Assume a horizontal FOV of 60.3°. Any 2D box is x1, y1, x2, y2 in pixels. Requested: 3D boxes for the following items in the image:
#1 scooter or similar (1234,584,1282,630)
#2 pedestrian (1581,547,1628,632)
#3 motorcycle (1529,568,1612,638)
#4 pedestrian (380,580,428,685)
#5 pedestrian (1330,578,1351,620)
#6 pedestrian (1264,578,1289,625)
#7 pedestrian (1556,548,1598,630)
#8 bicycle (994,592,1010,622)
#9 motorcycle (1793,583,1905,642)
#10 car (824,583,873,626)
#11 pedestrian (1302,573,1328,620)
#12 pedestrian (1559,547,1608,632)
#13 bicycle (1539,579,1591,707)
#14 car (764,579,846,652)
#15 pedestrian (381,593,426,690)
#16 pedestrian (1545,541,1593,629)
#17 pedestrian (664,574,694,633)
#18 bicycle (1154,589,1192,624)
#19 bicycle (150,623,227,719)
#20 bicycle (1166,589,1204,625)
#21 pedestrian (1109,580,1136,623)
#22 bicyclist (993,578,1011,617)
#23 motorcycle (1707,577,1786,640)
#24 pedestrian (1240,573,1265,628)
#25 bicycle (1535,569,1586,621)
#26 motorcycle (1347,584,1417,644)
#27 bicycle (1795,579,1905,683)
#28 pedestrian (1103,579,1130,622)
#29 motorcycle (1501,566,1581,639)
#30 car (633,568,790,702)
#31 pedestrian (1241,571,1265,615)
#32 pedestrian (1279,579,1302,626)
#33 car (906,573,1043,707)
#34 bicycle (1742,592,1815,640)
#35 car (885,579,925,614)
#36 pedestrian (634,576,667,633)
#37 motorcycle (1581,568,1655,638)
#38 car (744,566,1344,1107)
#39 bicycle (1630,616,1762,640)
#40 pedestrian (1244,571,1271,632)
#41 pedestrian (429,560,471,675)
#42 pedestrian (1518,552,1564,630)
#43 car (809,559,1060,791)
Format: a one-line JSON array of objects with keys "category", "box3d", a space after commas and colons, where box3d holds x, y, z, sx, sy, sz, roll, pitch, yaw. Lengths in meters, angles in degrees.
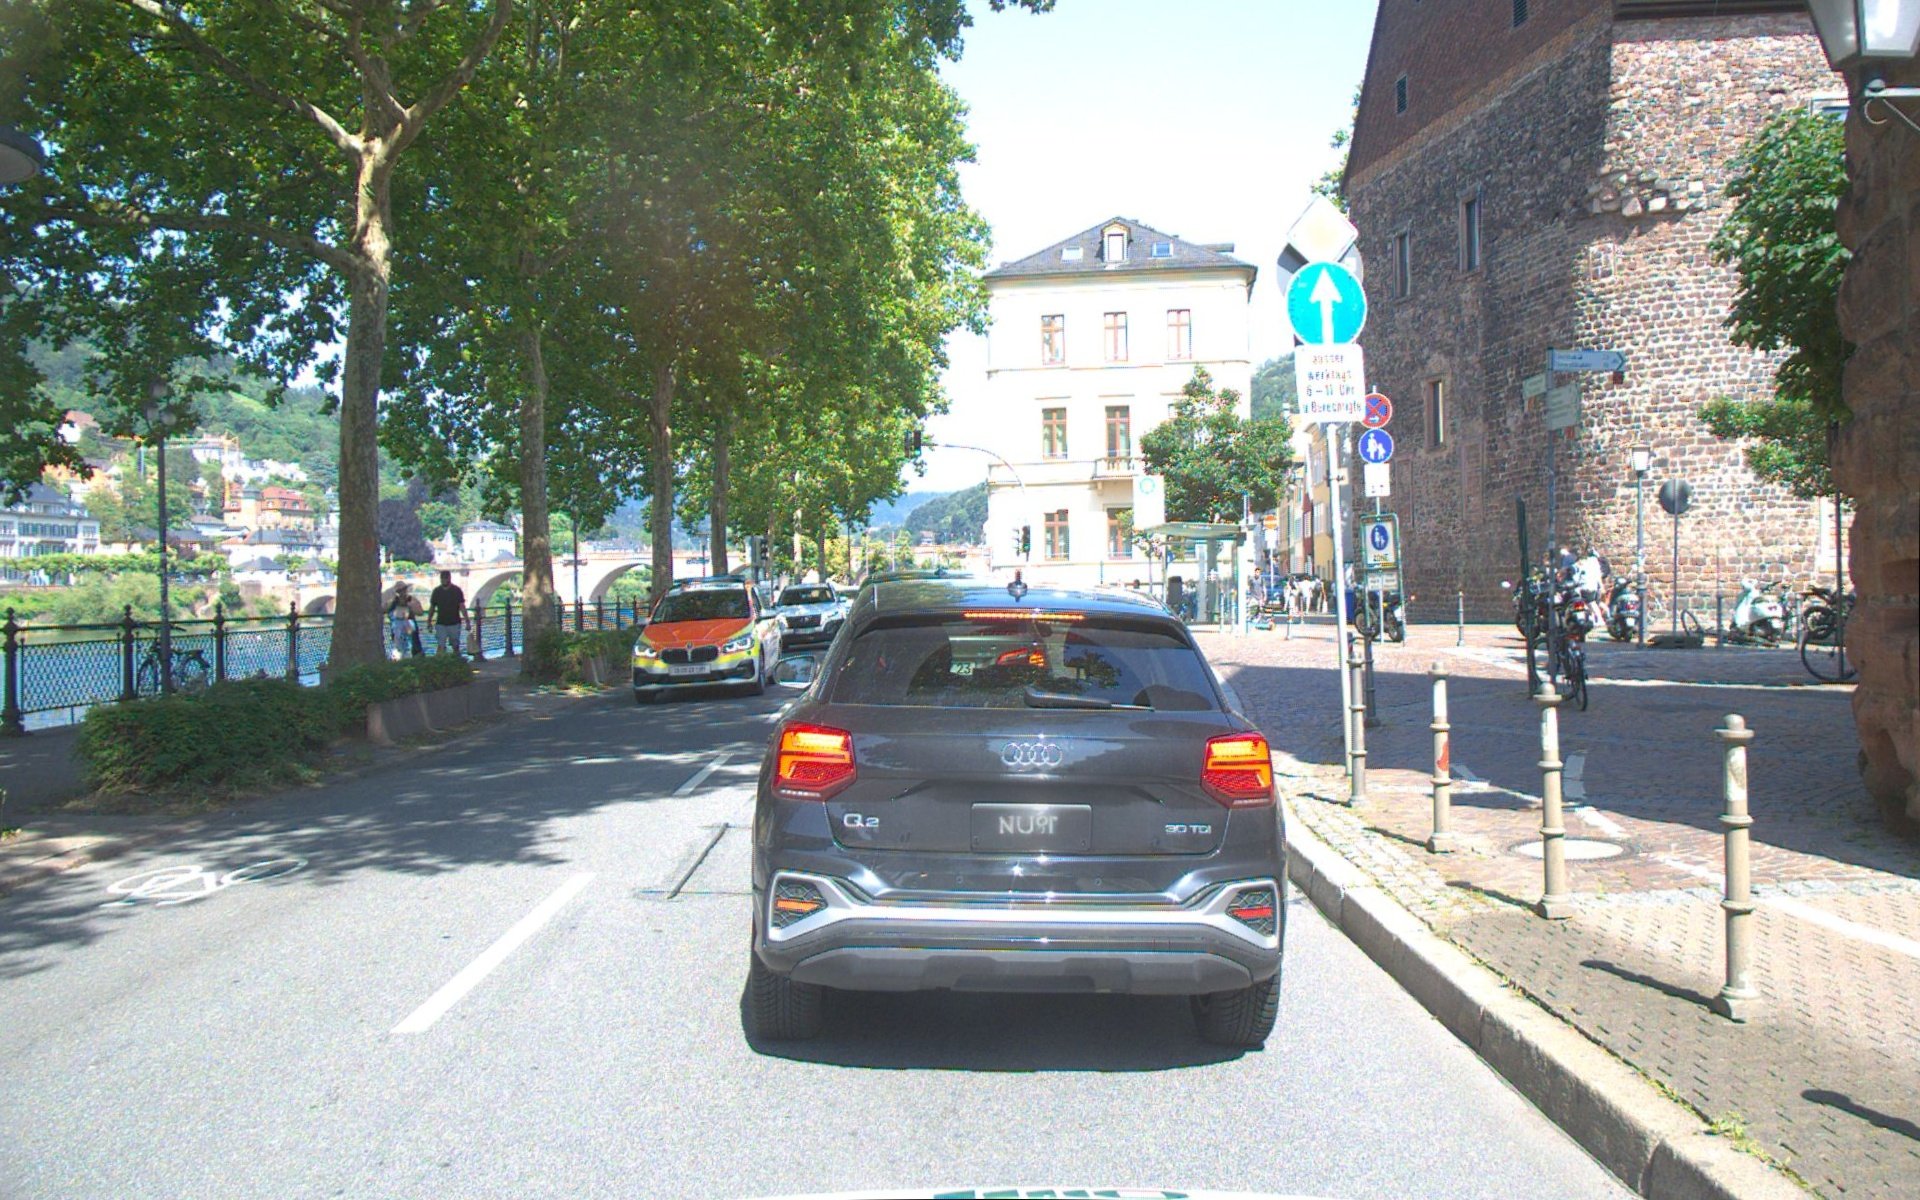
[{"category": "scooter or similar", "box3d": [7.114, 0.169, 39.508, 1.067, 1.084, 0.323, 1, -1, -3]}, {"category": "pedestrian", "box3d": [14.979, -0.240, 38.424, 0.665, 1.954, 0.808, 1, -1, -44]}, {"category": "motorcycle", "box3d": [11.389, 0.059, 30.937, 0.661, 1.257, 2.312, 1, 0, -1]}, {"category": "pedestrian", "box3d": [-9.247, 0.532, 27.521, 0.589, 1.715, 0.583, -1, 0, -2]}, {"category": "pedestrian", "box3d": [15.009, -0.046, 65.231, 0.676, 1.640, 0.891, -2, 0, 20]}, {"category": "pedestrian", "box3d": [14.153, 0.075, 74.042, 0.925, 2.049, 0.807, 1, -1, -1]}, {"category": "pedestrian", "box3d": [13.086, -0.231, 35.073, 0.791, 1.691, 0.656, -1, 0, 23]}, {"category": "bicycle", "box3d": [1.578, 0.256, 62.427, 0.428, 1.105, 1.675, 1, 0, -5]}, {"category": "motorcycle", "box3d": [16.852, 0.233, 31.375, 1.826, 1.072, 0.480, 1, -1, 7]}, {"category": "car", "box3d": [-4.614, 0.159, 68.765, 1.703, 1.599, 4.091, -4, 1, -1]}, {"category": "pedestrian", "box3d": [15.351, -0.149, 71.519, 0.920, 2.049, 0.807, 1, -1, 1]}, {"category": "pedestrian", "box3d": [14.277, -0.240, 37.882, 0.663, 1.917, 0.811, 1, -1, -35]}, {"category": "bicycle", "box3d": [6.142, 0.401, 16.835, 0.189, 1.225, 1.771, 0, 1, 10]}, {"category": "car", "box3d": [-3.910, 0.362, 42.248, 1.733, 1.689, 3.999, -3, 0, -1]}, {"category": "pedestrian", "box3d": [-8.115, 0.604, 24.124, 0.469, 1.386, 0.417, -2, 0, 3]}, {"category": "pedestrian", "box3d": [14.574, -0.353, 39.578, 0.717, 2.049, 0.876, 1, -1, -9]}, {"category": "pedestrian", "box3d": [-9.775, 0.123, 57.511, 0.891, 2.049, 0.586, 1, -1, 3]}, {"category": "bicycle", "box3d": [6.406, 0.191, 49.649, 1.166, 1.033, 0.178, 1, -1, -20]}, {"category": "bicycle", "box3d": [-9.529, 0.860, 20.459, 0.352, 1.110, 1.295, 2, 0, -2]}, {"category": "bicycle", "box3d": [6.673, 0.216, 49.029, 1.184, 1.053, 0.178, 1, -1, -20]}, {"category": "pedestrian", "box3d": [4.717, 0.035, 48.156, 0.651, 1.233, 0.640, 1, -1, -7]}, {"category": "bicyclist", "box3d": [1.587, -0.097, 62.405, 0.593, 1.475, 0.590, 1, -1, -6]}, {"category": "motorcycle", "box3d": [14.031, 0.150, 29.558, 0.496, 1.092, 1.839, 1, 0, -1]}, {"category": "pedestrian", "box3d": [7.564, 0.016, 42.753, 0.546, 1.409, 0.588, 1, -1, 1]}, {"category": "bicycle", "box3d": [14.656, -0.108, 40.392, 0.381, 1.230, 1.715, 1, 0, -9]}, {"category": "motorcycle", "box3d": [7.696, 0.237, 30.235, 0.555, 1.030, 2.489, -1, 1, -2]}, {"category": "bicycle", "box3d": [10.628, 0.342, 19.799, 0.437, 1.182, 1.731, -1, 1, 2]}, {"category": "pedestrian", "box3d": [4.633, 0.012, 48.894, 0.651, 1.253, 0.640, 1, -1, -7]}, {"category": "motorcycle", "box3d": [10.573, 0.053, 30.181, 0.642, 1.288, 2.199, 0, 0, -1]}, {"category": "car", "box3d": [-3.522, 0.449, 24.094, 1.639, 1.689, 4.222, -3, 0, -1]}, {"category": "pedestrian", "box3d": [11.137, -0.267, 62.829, 0.760, 1.649, 0.645, -2, 0, 1]}, {"category": "pedestrian", "box3d": [14.403, 0.104, 72.002, 0.822, 2.049, 0.738, 1, -1, -1]}, {"category": "car", "box3d": [0.148, 0.480, 22.091, 1.676, 1.637, 3.654, 0, 0, -1]}, {"category": "bicycle", "box3d": [15.130, 0.289, 30.620, 0.346, 0.835, 1.926, 1, 1, -2]}, {"category": "car", "box3d": [-2.976, -0.169, 90.468, 1.952, 1.838, 4.000, 1, 0, 1]}, {"category": "pedestrian", "box3d": [-10.235, 0.153, 54.712, 0.891, 1.843, 0.586, 1, -1, 3]}, {"category": "motorcycle", "box3d": [12.283, 0.052, 30.934, 0.535, 1.257, 2.030, 1, 0, -1]}, {"category": "car", "box3d": [0.218, 0.665, 6.592, 1.707, 1.535, 3.646, 1, 1, -1]}, {"category": "bicycle", "box3d": [12.304, 0.462, 27.720, 1.887, 0.388, 0.918, 0, -1, 14]}, {"category": "pedestrian", "box3d": [9.498, 0.062, 52.766, 0.732, 1.923, 0.752, 1, -1, 1]}, {"category": "pedestrian", "box3d": [-8.638, 0.293, 28.020, 0.523, 1.920, 0.436, 1, 0, -1]}, {"category": "pedestrian", "box3d": [13.792, -0.218, 39.263, 0.645, 1.834, 0.838, 0, 0, -31]}, {"category": "car", "box3d": [-0.202, 0.521, 13.462, 1.756, 1.623, 3.398, 1, 0, -1]}]
